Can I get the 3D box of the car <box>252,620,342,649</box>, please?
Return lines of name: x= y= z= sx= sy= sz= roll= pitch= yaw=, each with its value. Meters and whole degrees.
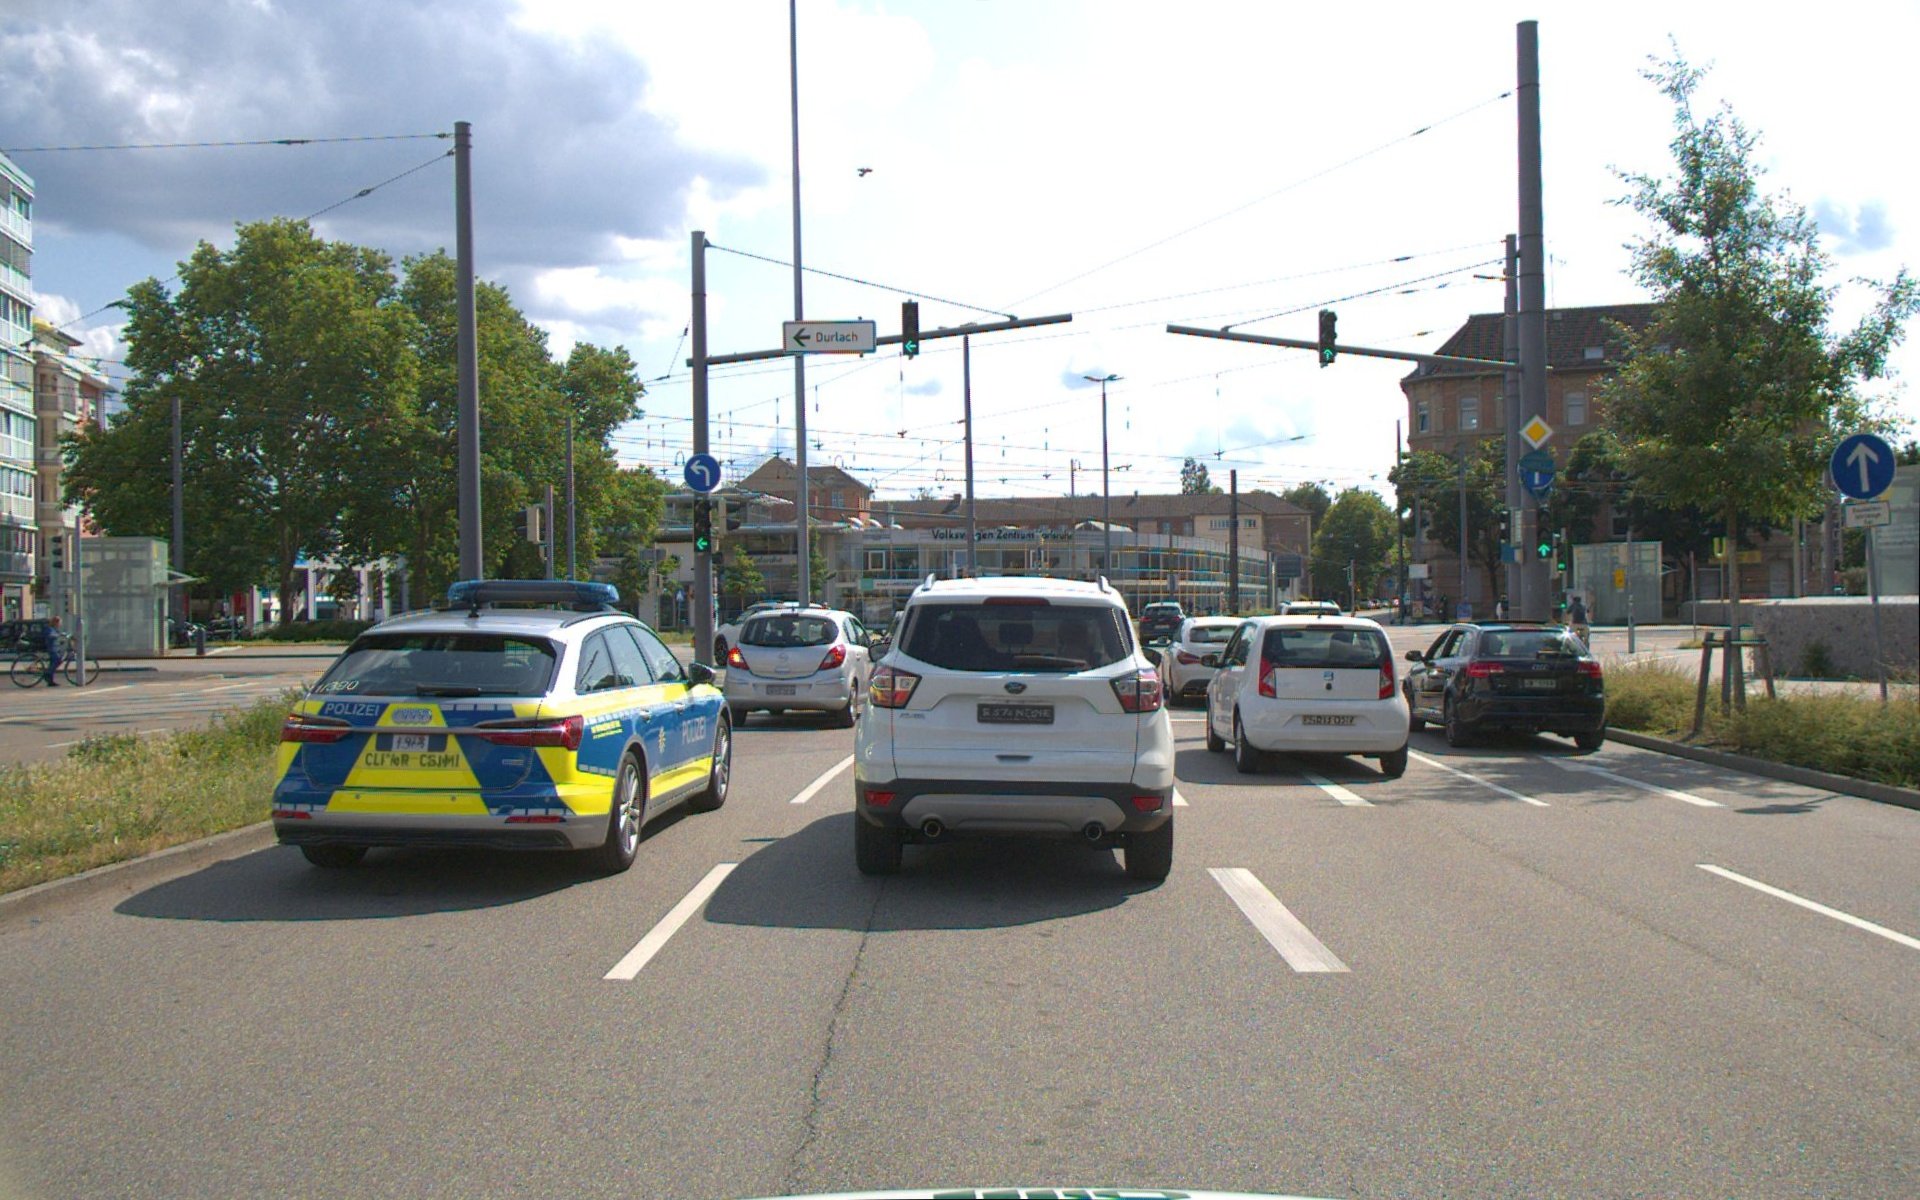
car: x=-33.819 y=1.773 z=84.423 sx=3.907 sy=1.350 sz=1.632 roll=-2 pitch=-2 yaw=-3

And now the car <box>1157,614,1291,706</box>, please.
car: x=4.336 y=0.951 z=27.643 sx=1.811 sy=1.444 sz=3.680 roll=0 pitch=-1 yaw=2

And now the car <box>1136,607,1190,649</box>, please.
car: x=7.197 y=0.988 z=58.928 sx=1.811 sy=1.444 sz=3.681 roll=0 pitch=-1 yaw=5

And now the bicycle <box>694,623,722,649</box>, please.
bicycle: x=-11.602 y=1.665 z=76.232 sx=0.631 sy=1.145 sz=1.765 roll=0 pitch=0 yaw=-32

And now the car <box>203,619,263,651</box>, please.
car: x=-35.680 y=1.742 z=81.253 sx=1.872 sy=1.438 sz=3.987 roll=-1 pitch=-2 yaw=-12

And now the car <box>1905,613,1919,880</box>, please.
car: x=6.281 y=0.798 z=6.940 sx=1.891 sy=1.481 sz=4.758 roll=0 pitch=0 yaw=0

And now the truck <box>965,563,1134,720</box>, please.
truck: x=1.568 y=0.599 z=26.329 sx=2.289 sy=2.193 sz=5.856 roll=1 pitch=0 yaw=7

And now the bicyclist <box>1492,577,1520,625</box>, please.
bicyclist: x=17.101 y=0.044 z=51.826 sx=0.595 sy=1.476 sz=0.774 roll=-1 pitch=-1 yaw=1

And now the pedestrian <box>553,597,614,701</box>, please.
pedestrian: x=-6.221 y=0.809 z=27.374 sx=0.830 sy=1.677 sz=0.692 roll=-1 pitch=-1 yaw=-2

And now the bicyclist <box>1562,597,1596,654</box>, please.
bicyclist: x=14.075 y=0.582 z=37.623 sx=0.622 sy=1.241 sz=0.923 roll=-3 pitch=0 yaw=24

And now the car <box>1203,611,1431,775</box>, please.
car: x=3.559 y=0.864 z=17.122 sx=1.615 sy=1.447 sz=4.001 roll=-1 pitch=0 yaw=2

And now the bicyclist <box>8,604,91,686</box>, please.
bicyclist: x=-20.104 y=0.986 z=36.559 sx=1.271 sy=1.761 sz=0.994 roll=-1 pitch=-1 yaw=-3

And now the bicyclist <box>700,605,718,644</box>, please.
bicyclist: x=-11.568 y=1.129 z=76.158 sx=0.632 sy=1.768 sz=0.654 roll=0 pitch=0 yaw=-33

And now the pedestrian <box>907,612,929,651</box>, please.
pedestrian: x=-1.938 y=1.447 z=75.709 sx=0.904 sy=1.774 sz=0.589 roll=1 pitch=-1 yaw=7

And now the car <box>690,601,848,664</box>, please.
car: x=-5.125 y=0.838 z=44.059 sx=2.028 sy=1.606 sz=4.470 roll=0 pitch=-1 yaw=-41

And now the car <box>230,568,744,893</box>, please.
car: x=-2.667 y=0.662 z=10.559 sx=1.841 sy=1.595 sz=4.616 roll=-1 pitch=0 yaw=1

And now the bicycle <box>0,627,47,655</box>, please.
bicycle: x=-40.703 y=1.767 z=71.656 sx=1.914 sy=1.167 sz=0.792 roll=0 pitch=-1 yaw=-19

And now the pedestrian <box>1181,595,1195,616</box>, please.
pedestrian: x=19.468 y=0.479 z=141.267 sx=0.860 sy=1.768 sz=0.873 roll=0 pitch=-1 yaw=35

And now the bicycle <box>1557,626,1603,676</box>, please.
bicycle: x=14.072 y=1.146 z=37.508 sx=0.830 sy=0.987 sz=1.960 roll=-4 pitch=0 yaw=24

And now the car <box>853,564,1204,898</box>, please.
car: x=0.445 y=0.686 z=10.446 sx=1.789 sy=1.693 sz=3.957 roll=0 pitch=-1 yaw=3

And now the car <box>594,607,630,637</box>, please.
car: x=-25.570 y=1.645 z=121.609 sx=1.955 sy=2.049 sz=4.226 roll=-2 pitch=-1 yaw=-5

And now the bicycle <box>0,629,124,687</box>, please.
bicycle: x=-19.869 y=1.270 z=36.552 sx=2.248 sy=1.209 sz=0.994 roll=-2 pitch=-1 yaw=-4

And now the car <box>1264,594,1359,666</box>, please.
car: x=8.502 y=0.725 z=40.261 sx=1.797 sy=1.681 sz=4.002 roll=0 pitch=-1 yaw=5

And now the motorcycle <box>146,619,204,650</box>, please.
motorcycle: x=-33.144 y=1.464 z=69.851 sx=2.165 sy=1.259 sz=0.906 roll=-1 pitch=0 yaw=17

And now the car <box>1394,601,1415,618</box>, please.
car: x=45.176 y=0.971 z=167.894 sx=1.798 sy=1.681 sz=4.001 roll=0 pitch=-1 yaw=19

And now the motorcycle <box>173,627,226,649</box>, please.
motorcycle: x=-34.313 y=1.703 z=74.673 sx=0.795 sy=0.933 sz=2.037 roll=-1 pitch=1 yaw=36

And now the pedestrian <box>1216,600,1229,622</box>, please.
pedestrian: x=23.447 y=0.946 z=147.697 sx=0.859 sy=1.956 sz=0.874 roll=0 pitch=-1 yaw=32

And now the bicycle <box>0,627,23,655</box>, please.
bicycle: x=-40.949 y=1.730 z=70.349 sx=1.776 sy=1.167 sz=0.792 roll=0 pitch=-1 yaw=-19

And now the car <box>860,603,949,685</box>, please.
car: x=-1.158 y=0.889 z=34.882 sx=1.727 sy=1.595 sz=4.525 roll=-1 pitch=0 yaw=-2

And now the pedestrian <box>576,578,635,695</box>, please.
pedestrian: x=-6.043 y=0.622 z=28.200 sx=0.830 sy=1.950 sz=0.692 roll=-1 pitch=-1 yaw=-2

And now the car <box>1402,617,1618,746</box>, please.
car: x=6.614 y=0.919 z=20.301 sx=1.663 sy=1.396 sz=4.135 roll=0 pitch=0 yaw=6

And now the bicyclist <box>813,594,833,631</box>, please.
bicyclist: x=-6.526 y=0.595 z=78.826 sx=0.743 sy=1.712 sz=0.761 roll=-2 pitch=-1 yaw=14

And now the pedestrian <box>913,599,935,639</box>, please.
pedestrian: x=-1.623 y=0.844 z=74.640 sx=0.904 sy=1.774 sz=0.589 roll=1 pitch=-1 yaw=7

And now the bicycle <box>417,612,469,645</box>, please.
bicycle: x=-22.788 y=1.255 z=72.947 sx=2.133 sy=1.439 sz=0.809 roll=0 pitch=0 yaw=-16

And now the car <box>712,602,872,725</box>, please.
car: x=-2.194 y=0.800 z=22.511 sx=1.810 sy=1.500 sz=3.999 roll=-1 pitch=0 yaw=-1

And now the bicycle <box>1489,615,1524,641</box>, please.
bicycle: x=17.119 y=0.862 z=51.821 sx=0.572 sy=0.789 sz=1.621 roll=-1 pitch=0 yaw=1
